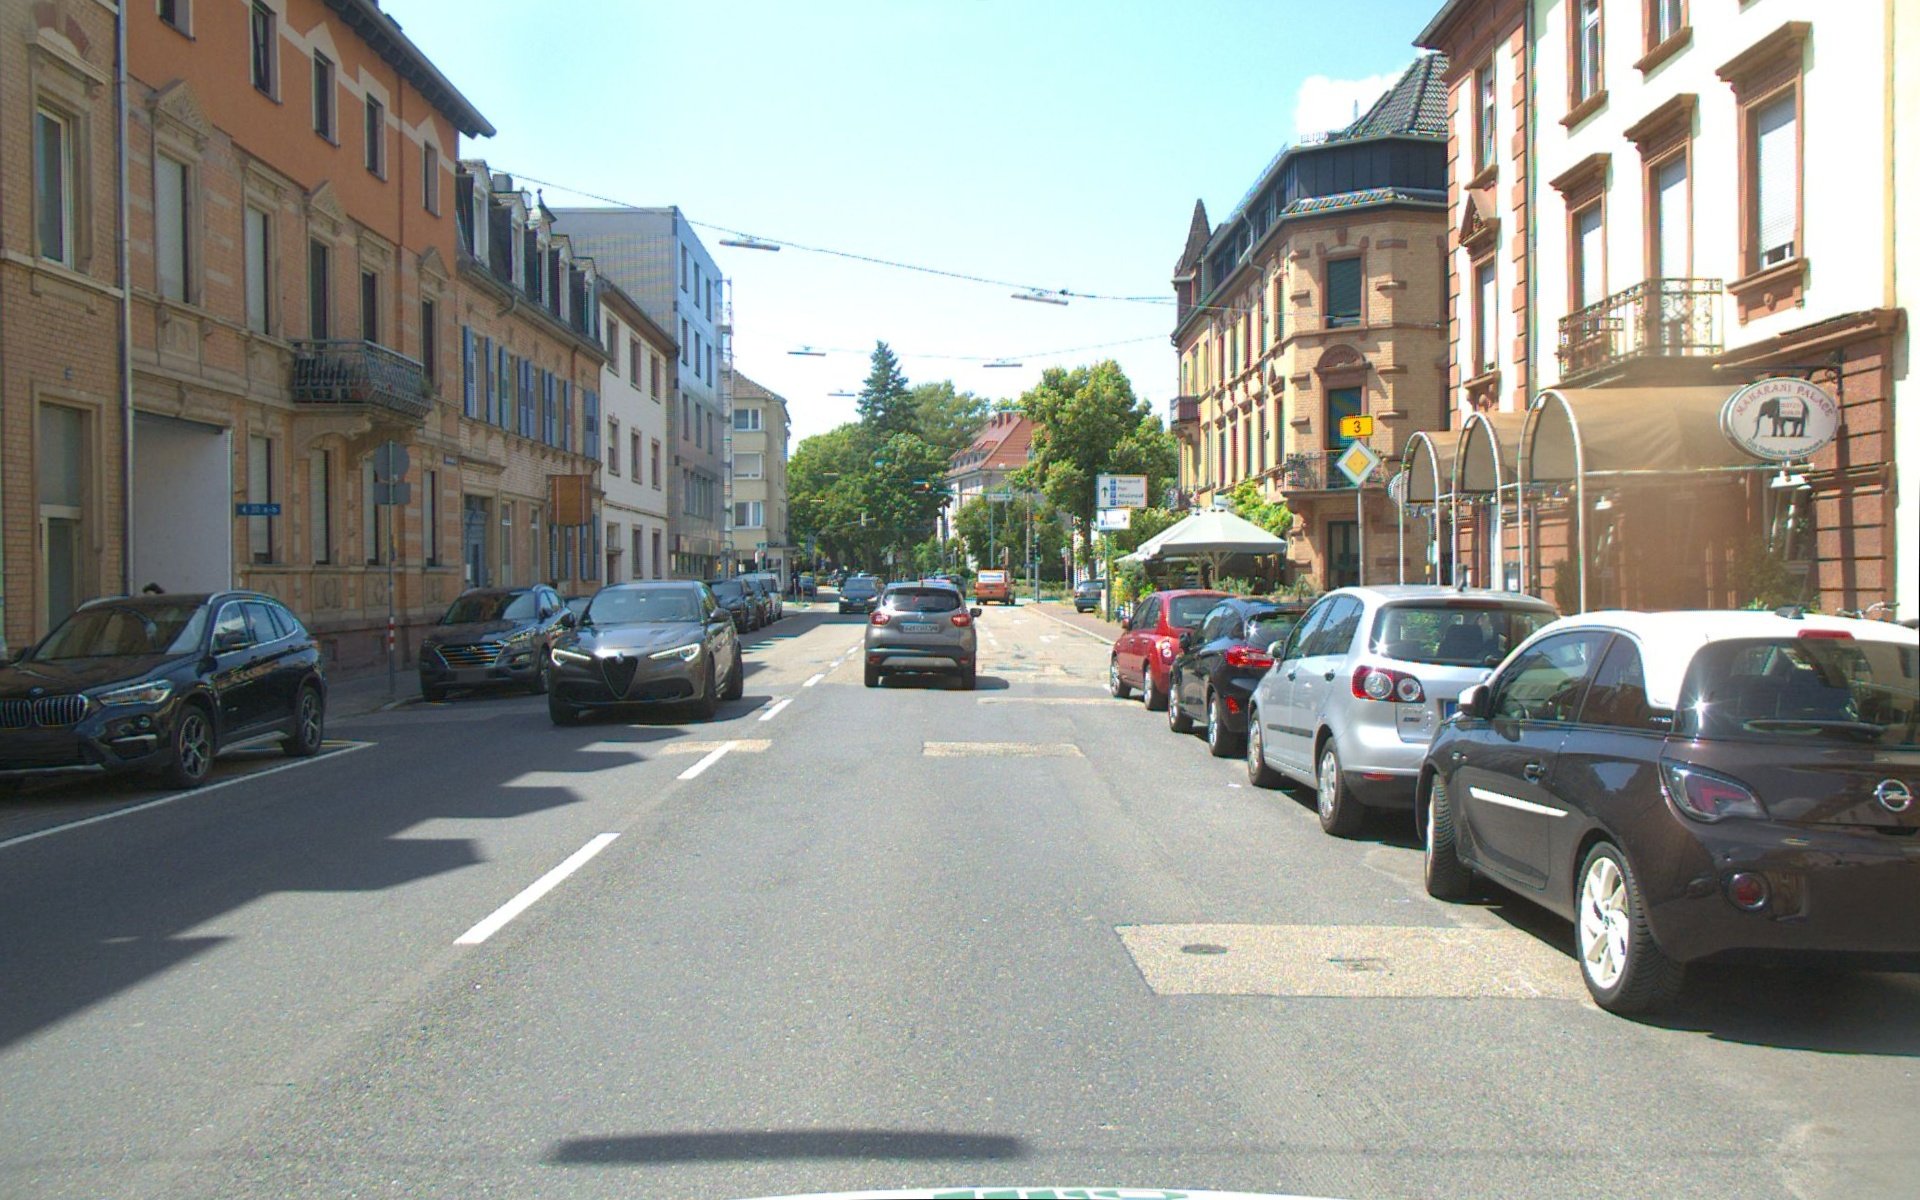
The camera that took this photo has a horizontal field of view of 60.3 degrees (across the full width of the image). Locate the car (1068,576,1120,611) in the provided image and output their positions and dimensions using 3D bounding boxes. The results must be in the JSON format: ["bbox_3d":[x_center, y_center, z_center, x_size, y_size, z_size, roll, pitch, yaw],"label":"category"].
[{"bbox_3d":[6.248,-0.318,76.596,1.857,1.534,3.946,-1,1,12],"label":"car"}]

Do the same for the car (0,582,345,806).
[{"bbox_3d":[-7.172,0.716,14.699,1.866,1.648,4.301,-3,0,-2],"label":"car"}]

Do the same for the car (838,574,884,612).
[{"bbox_3d":[-4.399,-0.342,73.796,1.753,1.654,3.744,0,1,1],"label":"car"}]

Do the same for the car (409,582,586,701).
[{"bbox_3d":[-7.235,0.599,26.306,1.868,1.648,4.298,-3,0,-5],"label":"car"}]

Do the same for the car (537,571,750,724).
[{"bbox_3d":[-3.823,0.513,20.657,1.900,1.654,3.999,-2,1,-1],"label":"car"}]

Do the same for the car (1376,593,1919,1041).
[{"bbox_3d":[3.231,0.725,7.544,1.626,1.466,4.000,1,1,0],"label":"car"}]

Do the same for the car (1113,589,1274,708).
[{"bbox_3d":[3.057,0.585,22.198,1.579,1.468,3.436,0,0,-2],"label":"car"}]

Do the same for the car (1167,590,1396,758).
[{"bbox_3d":[3.082,0.646,16.490,1.578,1.487,3.505,0,0,-1],"label":"car"}]

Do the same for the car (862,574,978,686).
[{"bbox_3d":[-0.632,0.426,26.485,1.708,1.644,3.999,0,1,-1],"label":"car"}]

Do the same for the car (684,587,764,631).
[{"bbox_3d":[-7.400,0.255,52.186,1.866,1.314,4.302,-1,0,0],"label":"car"}]

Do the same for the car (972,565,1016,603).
[{"bbox_3d":[1.915,-0.895,92.753,1.951,2.049,4.470,-1,1,8],"label":"car"}]

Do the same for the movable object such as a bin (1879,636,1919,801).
[{"bbox_3d":[6.649,0.771,10.552,1.021,1.040,0.991,1,0,1],"label":"movable object such as a bin"}]

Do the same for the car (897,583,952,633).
[{"bbox_3d":[-1.315,0.268,59.512,1.776,1.649,4.439,-2,0,-3],"label":"car"}]

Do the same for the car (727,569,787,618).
[{"bbox_3d":[-8.102,-0.264,66.361,1.866,1.853,4.302,-1,0,0],"label":"car"}]

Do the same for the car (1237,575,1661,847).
[{"bbox_3d":[3.252,0.646,11.863,1.822,1.580,4.000,1,0,0],"label":"car"}]

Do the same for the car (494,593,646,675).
[{"bbox_3d":[-7.373,0.599,31.682,1.866,1.381,4.302,-3,0,-1],"label":"car"}]

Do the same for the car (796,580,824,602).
[{"bbox_3d":[-11.507,-0.681,127.285,1.753,1.654,3.744,0,1,1],"label":"car"}]
